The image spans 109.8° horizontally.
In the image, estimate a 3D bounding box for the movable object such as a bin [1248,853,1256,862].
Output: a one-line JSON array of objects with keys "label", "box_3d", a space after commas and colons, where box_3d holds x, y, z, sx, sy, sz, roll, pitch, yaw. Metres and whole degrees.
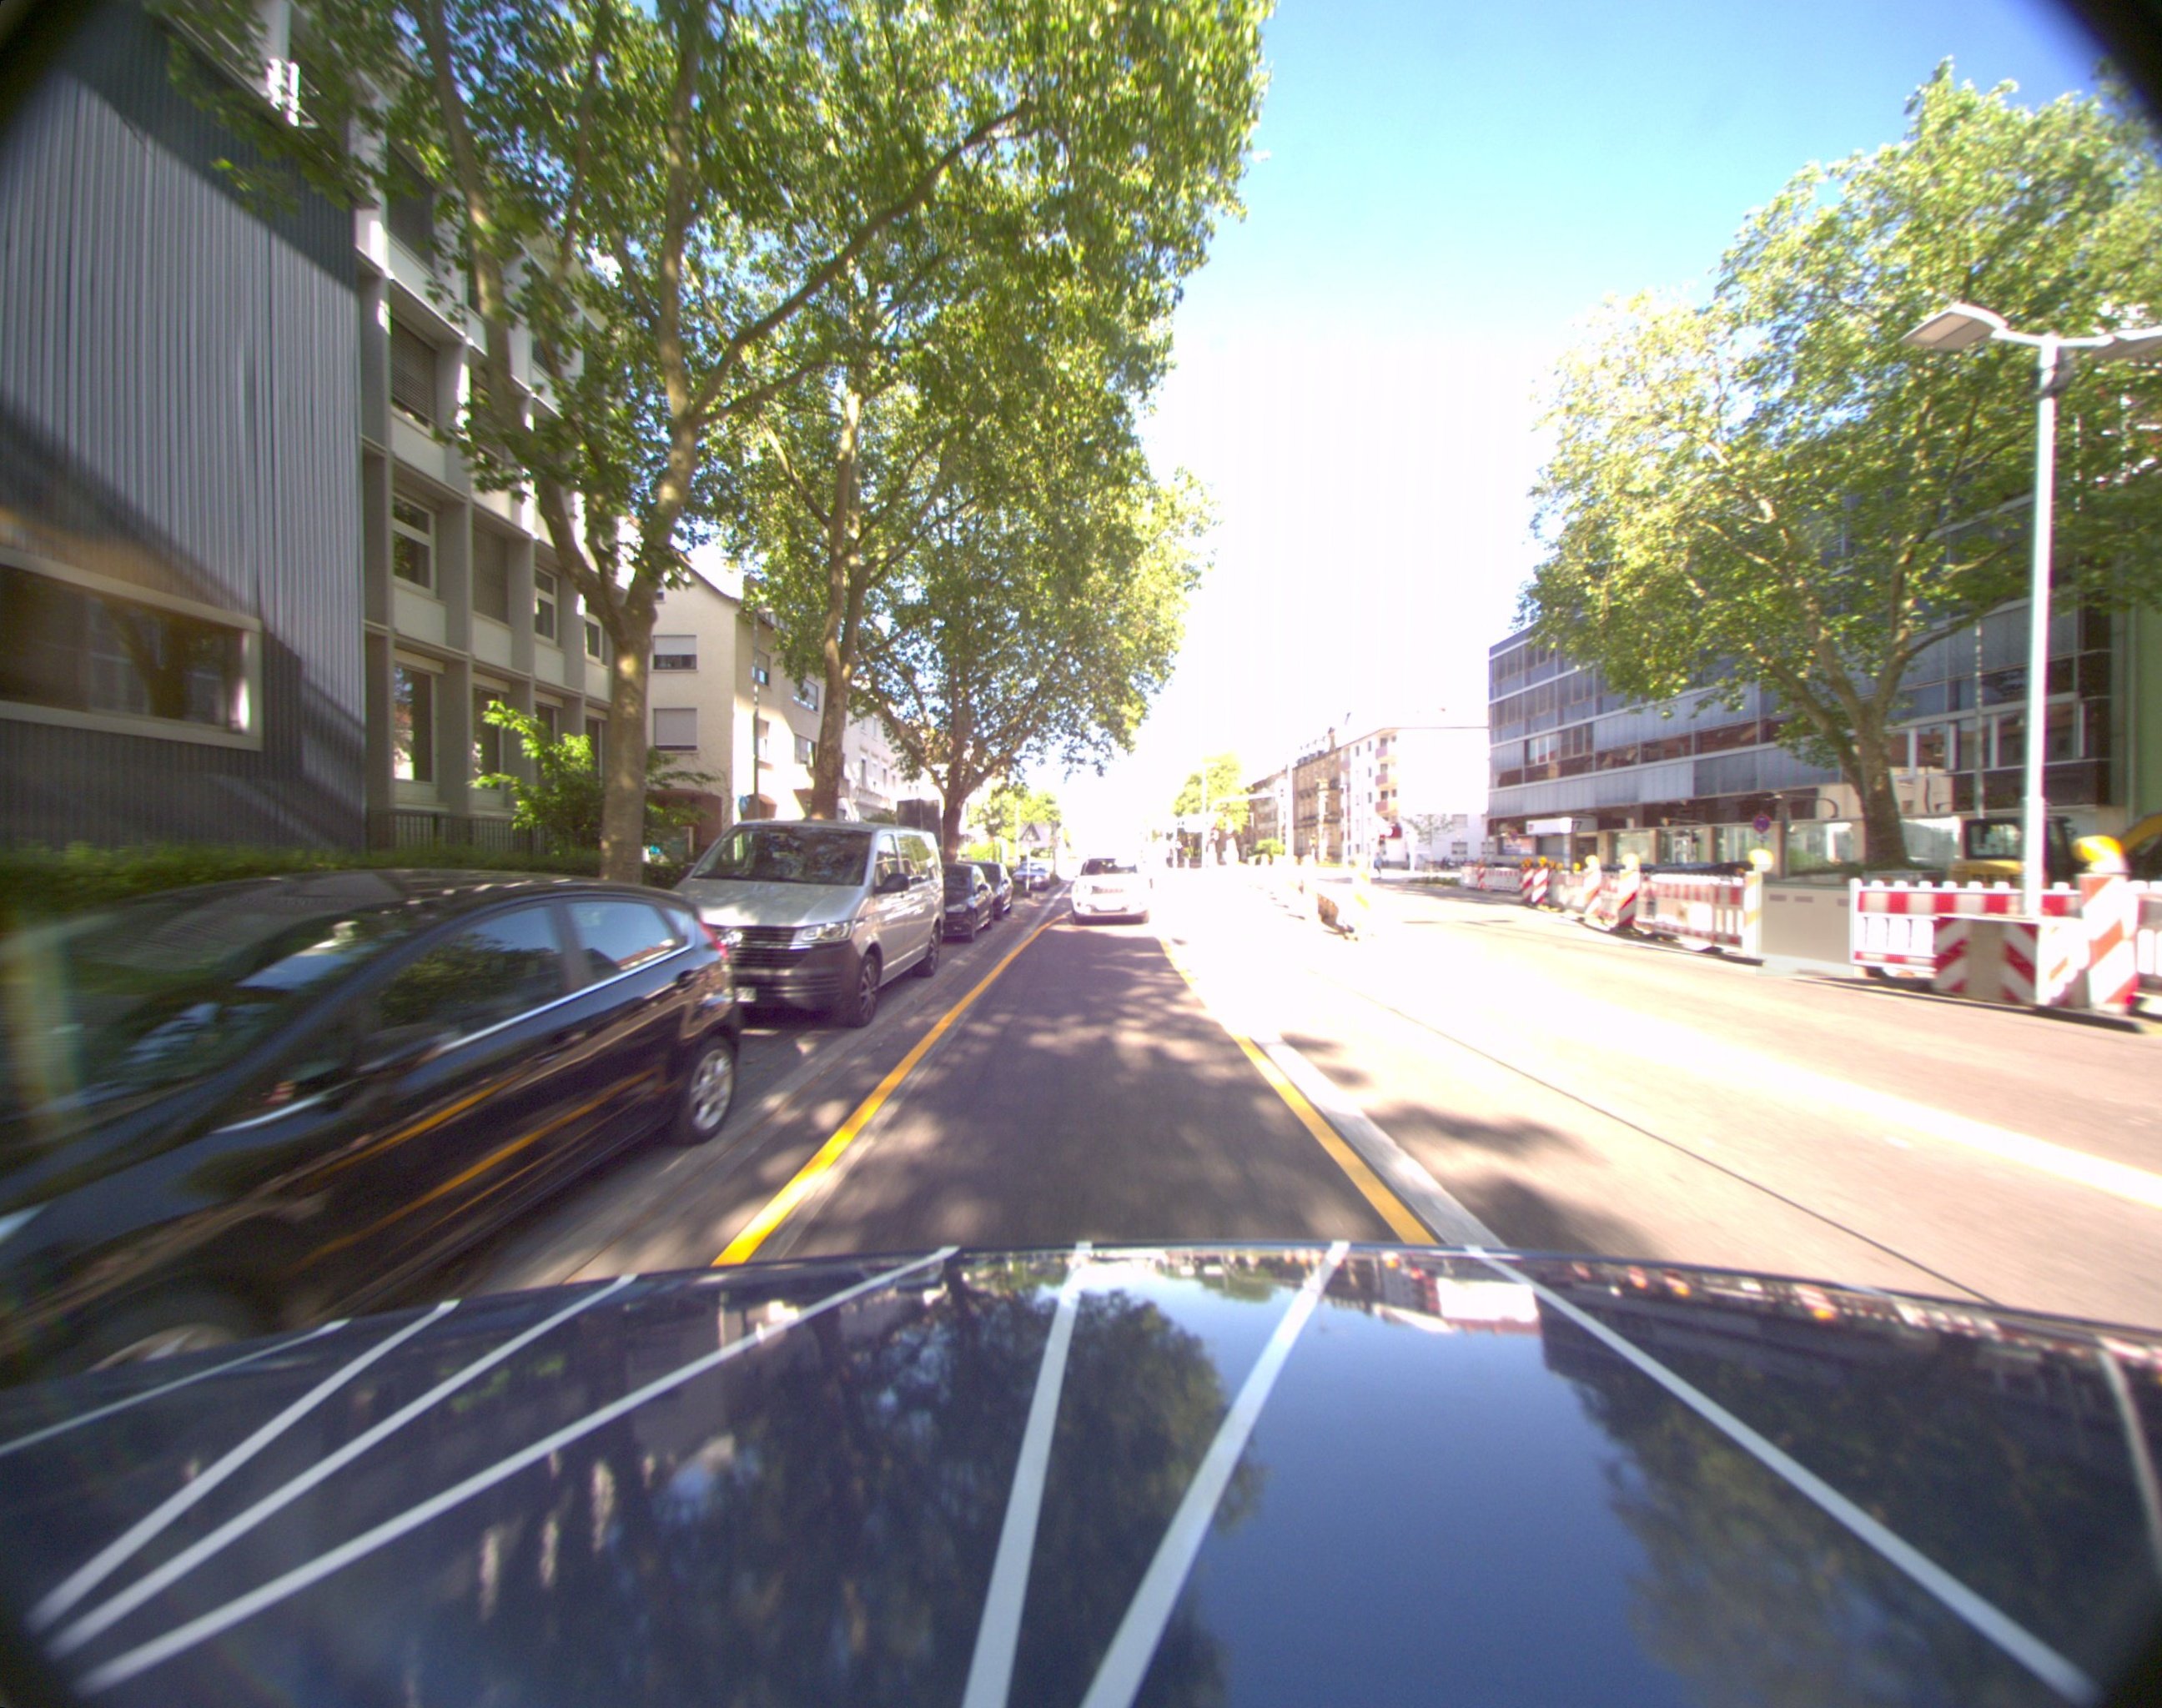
[{"label": "movable object such as a bin", "box_3d": [27.210, 0.520, 120.703, 0.895, 1.352, 1.474, 1, -1, 2]}]

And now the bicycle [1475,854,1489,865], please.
[{"label": "bicycle", "box_3d": [36.729, 0.503, 69.590, 0.490, 1.062, 1.737, -1, 0, 3]}]

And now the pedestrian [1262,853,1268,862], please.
[{"label": "pedestrian", "box_3d": [26.893, 0.498, 111.229, 0.568, 1.370, 1.089, 1, 2, -1]}]

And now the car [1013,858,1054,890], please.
[{"label": "car", "box_3d": [-2.386, 0.984, 39.351, 1.857, 1.471, 4.941, -1, 0, -1]}]

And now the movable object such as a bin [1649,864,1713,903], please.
[{"label": "movable object such as a bin", "box_3d": [20.311, 0.979, 25.758, 0.982, 1.263, 1.540, -1, 0, 0]}]

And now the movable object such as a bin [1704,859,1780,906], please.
[{"label": "movable object such as a bin", "box_3d": [20.808, 0.864, 23.929, 1.637, 1.414, 1.260, -1, 1, -25]}]

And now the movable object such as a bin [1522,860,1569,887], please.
[{"label": "movable object such as a bin", "box_3d": [21.052, 0.866, 34.442, 1.397, 1.196, 1.241, -1, 1, 4]}]

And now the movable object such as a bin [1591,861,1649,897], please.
[{"label": "movable object such as a bin", "box_3d": [20.680, 0.933, 29.176, 1.413, 1.330, 1.157, -1, 0, 3]}]

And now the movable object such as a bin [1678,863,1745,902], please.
[{"label": "movable object such as a bin", "box_3d": [21.330, 0.946, 25.744, 0.982, 1.263, 1.540, -1, 0, 0]}]

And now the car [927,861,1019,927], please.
[{"label": "car", "box_3d": [-2.736, 0.970, 20.125, 1.768, 1.499, 4.251, -1, 0, 0]}]

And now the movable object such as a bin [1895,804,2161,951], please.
[{"label": "movable object such as a bin", "box_3d": [20.741, 0.411, 15.630, 2.152, 2.690, 5.353, -1, 0, -2]}]

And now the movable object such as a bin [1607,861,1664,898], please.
[{"label": "movable object such as a bin", "box_3d": [20.477, 0.926, 28.092, 1.413, 1.330, 0.936, -1, 1, 3]}]

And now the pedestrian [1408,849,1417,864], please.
[{"label": "pedestrian", "box_3d": [32.338, 0.230, 74.120, 0.601, 1.488, 0.695, -1, 1, 4]}]

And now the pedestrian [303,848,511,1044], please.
[{"label": "pedestrian", "box_3d": [-5.979, 0.752, 6.840, 0.730, 1.593, 1.267, -1, 1, -2]}]

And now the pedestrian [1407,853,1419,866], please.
[{"label": "pedestrian", "box_3d": [30.676, 0.505, 70.197, 0.719, 1.146, 0.788, -1, 1, -12]}]

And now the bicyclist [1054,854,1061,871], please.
[{"label": "bicyclist", "box_3d": [-2.353, 0.836, 76.288, 0.605, 1.698, 0.858, -1, 0, 1]}]

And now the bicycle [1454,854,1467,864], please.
[{"label": "bicycle", "box_3d": [36.134, 0.469, 72.379, 0.575, 0.963, 1.737, -1, 0, 5]}]

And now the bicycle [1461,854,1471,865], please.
[{"label": "bicycle", "box_3d": [35.242, 0.483, 69.567, 0.507, 0.972, 1.887, -1, 0, 17]}]

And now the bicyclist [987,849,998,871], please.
[{"label": "bicyclist", "box_3d": [-7.399, 0.531, 63.528, 0.725, 1.810, 1.070, -1, 0, 1]}]

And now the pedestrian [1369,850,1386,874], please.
[{"label": "pedestrian", "box_3d": [20.670, 0.554, 52.918, 0.866, 1.701, 1.013, 0, 0, 8]}]

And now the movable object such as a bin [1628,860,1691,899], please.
[{"label": "movable object such as a bin", "box_3d": [20.580, 0.911, 27.057, 1.413, 1.330, 1.069, -1, 1, 2]}]

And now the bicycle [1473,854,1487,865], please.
[{"label": "bicycle", "box_3d": [38.013, 0.490, 72.348, 0.575, 1.052, 1.691, -1, 0, 5]}]

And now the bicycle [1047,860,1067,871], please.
[{"label": "bicycle", "box_3d": [-2.403, 1.185, 76.345, 1.967, 1.019, 0.605, -2, 0, 0]}]

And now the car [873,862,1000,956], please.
[{"label": "car", "box_3d": [-2.699, 0.967, 15.134, 1.661, 1.531, 4.128, -1, 0, 1]}]

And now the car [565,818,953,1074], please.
[{"label": "car", "box_3d": [-2.896, 0.698, 8.443, 2.031, 1.935, 5.273, -1, 0, 0]}]

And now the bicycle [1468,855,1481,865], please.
[{"label": "bicycle", "box_3d": [35.802, 0.534, 69.155, 0.478, 0.942, 1.953, -1, 0, 9]}]

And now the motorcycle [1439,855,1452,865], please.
[{"label": "motorcycle", "box_3d": [33.602, 0.549, 70.117, 0.504, 0.931, 1.843, -1, 0, 8]}]

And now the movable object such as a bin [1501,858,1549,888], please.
[{"label": "movable object such as a bin", "box_3d": [21.109, 0.881, 36.180, 1.217, 1.380, 1.856, -1, 0, 2]}]

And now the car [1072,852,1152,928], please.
[{"label": "car", "box_3d": [0.806, 0.809, 18.504, 1.743, 1.647, 3.691, -1, 0, 4]}]

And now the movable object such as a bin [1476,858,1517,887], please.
[{"label": "movable object such as a bin", "box_3d": [21.039, 0.910, 38.517, 1.116, 1.380, 1.856, -1, 0, 2]}]

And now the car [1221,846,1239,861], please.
[{"label": "car", "box_3d": [26.285, -0.025, 133.965, 2.250, 2.431, 5.288, 1, -1, 1]}]

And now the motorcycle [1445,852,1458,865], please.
[{"label": "motorcycle", "box_3d": [34.706, 0.419, 71.267, 0.612, 1.135, 1.784, -1, 0, 10]}]

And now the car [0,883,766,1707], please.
[{"label": "car", "box_3d": [-2.920, 0.929, 2.698, 1.752, 1.469, 4.101, 0, 0, 2]}]
